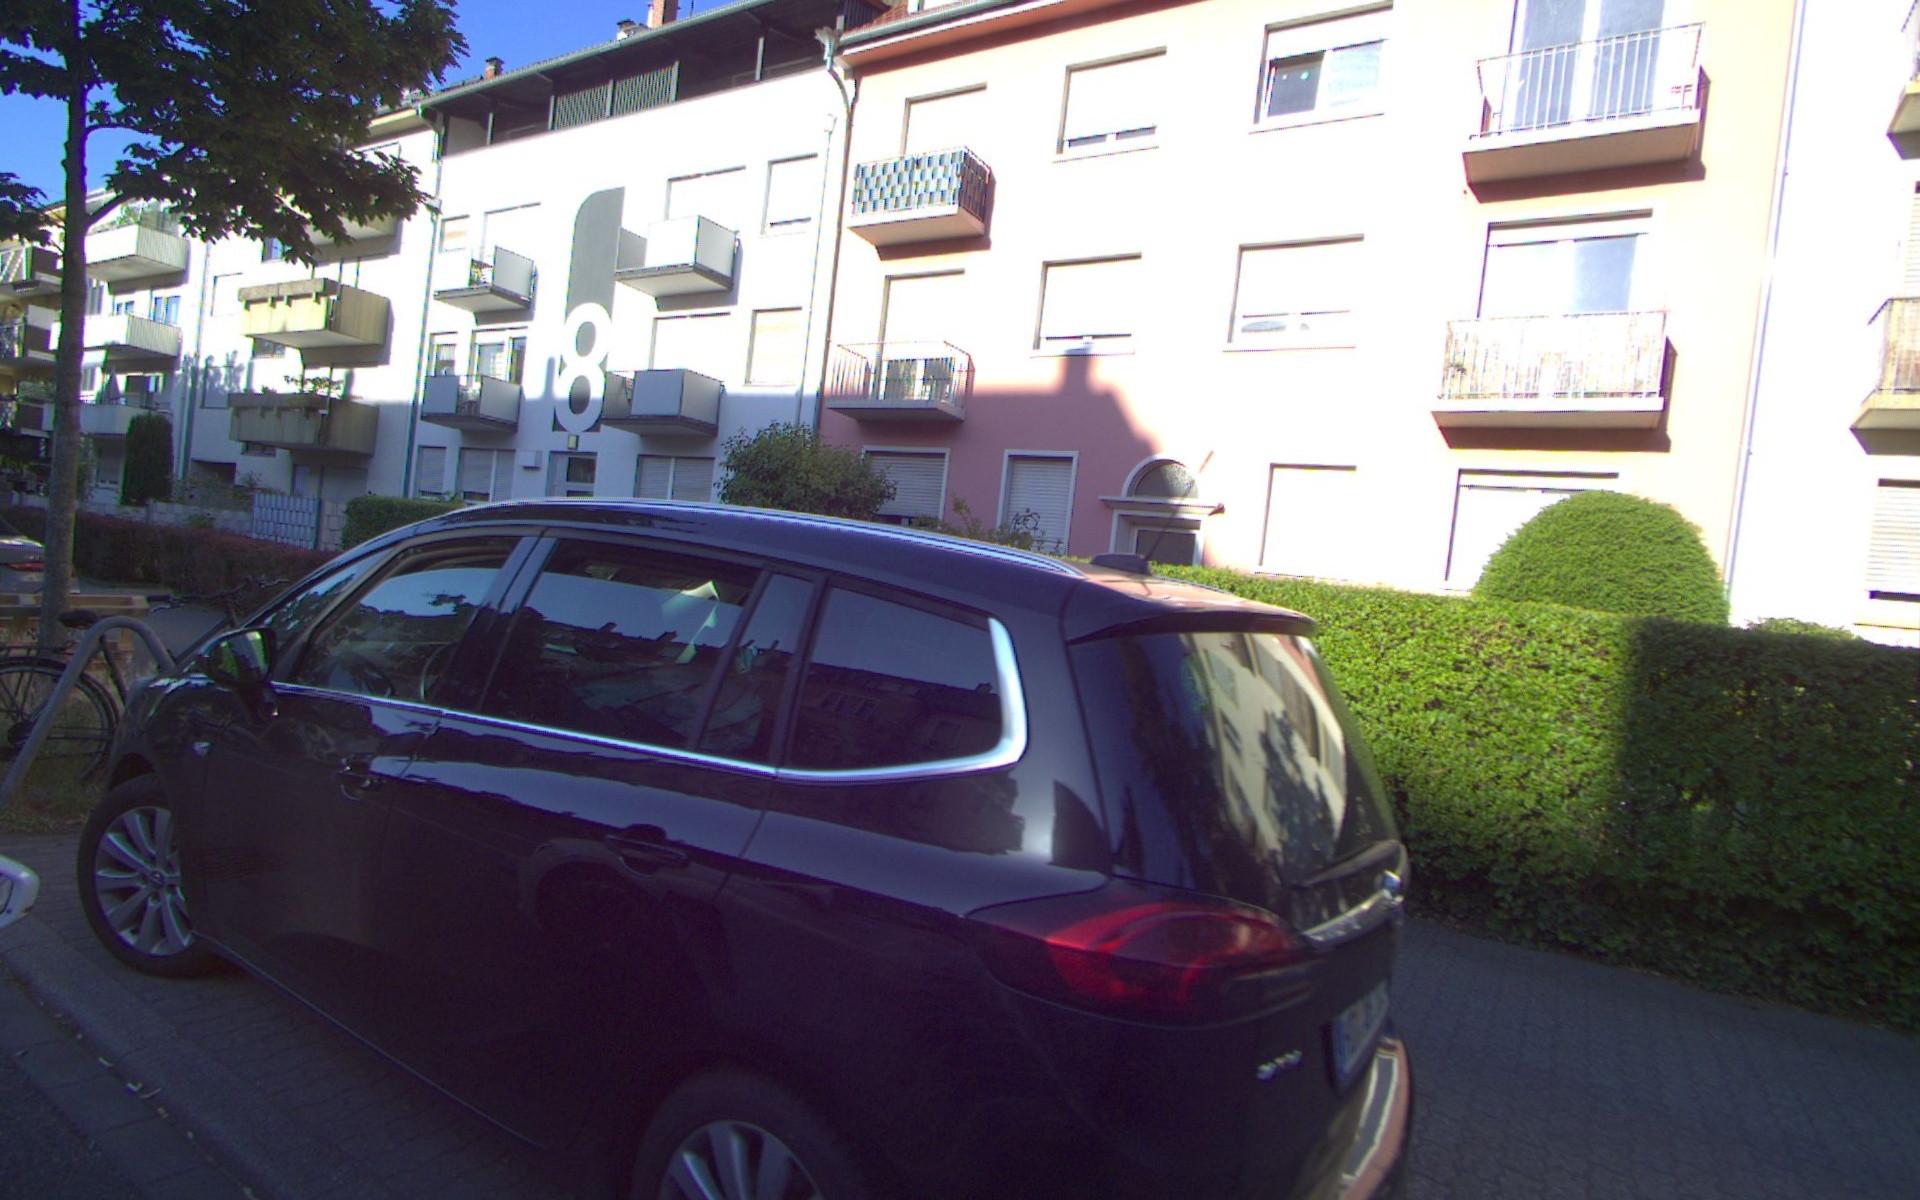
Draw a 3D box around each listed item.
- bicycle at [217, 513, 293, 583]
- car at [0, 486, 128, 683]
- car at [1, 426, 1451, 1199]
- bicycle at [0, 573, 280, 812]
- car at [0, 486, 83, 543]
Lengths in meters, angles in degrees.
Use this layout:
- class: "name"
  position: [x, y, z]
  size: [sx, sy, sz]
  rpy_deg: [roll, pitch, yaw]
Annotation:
- class: "bicycle"
  position: [-12.811, -0.953, 18.273]
  size: [1.519, 1.103, 0.493]
  rpy_deg: [7, 1, 32]
- class: "car"
  position: [-9.486, -0.373, 8.665]
  size: [4.664, 1.505, 1.923]
  rpy_deg: [7, 1, 29]
- class: "car"
  position: [-1.014, 0.515, 3.078]
  size: [4.220, 1.672, 1.734]
  rpy_deg: [7, 1, 32]
- class: "bicycle"
  position: [-4.389, 0.440, 5.146]
  size: [0.404, 1.072, 1.481]
  rpy_deg: [7, 0, 19]
- class: "car"
  position: [-29.652, -2.778, 30.624]
  size: [1.793, 1.480, 3.994]
  rpy_deg: [7, 0, 29]
